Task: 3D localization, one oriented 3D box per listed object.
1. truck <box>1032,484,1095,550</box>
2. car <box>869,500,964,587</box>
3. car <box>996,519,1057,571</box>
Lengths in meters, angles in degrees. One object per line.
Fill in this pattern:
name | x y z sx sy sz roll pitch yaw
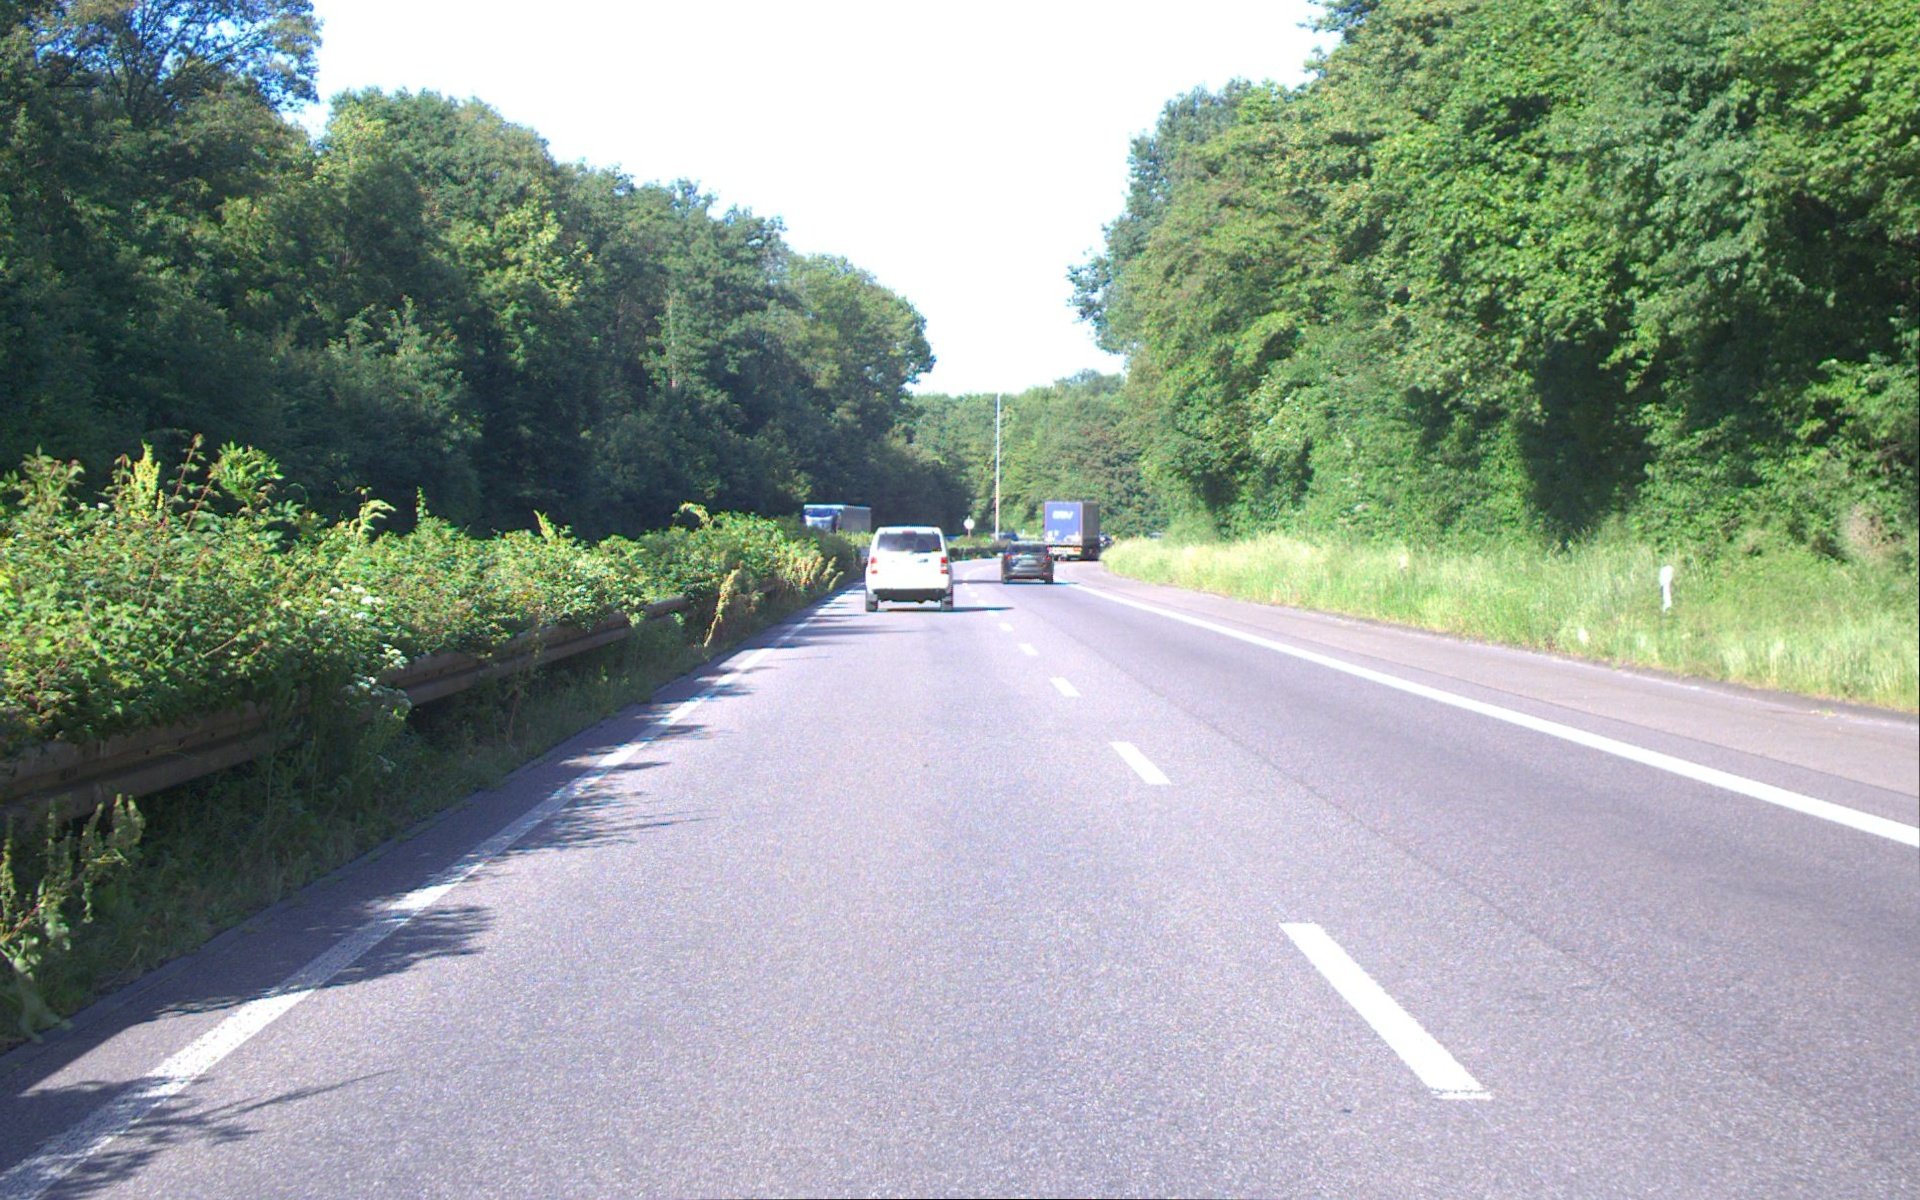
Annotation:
truck | 7.076 -5.604 232.853 3.735 4.328 9.303 1 1 5
car | -0.939 -1.203 73.121 1.951 1.776 4.588 1 1 -1
car | 2.321 -1.914 120.292 1.951 1.776 4.588 1 1 -1
